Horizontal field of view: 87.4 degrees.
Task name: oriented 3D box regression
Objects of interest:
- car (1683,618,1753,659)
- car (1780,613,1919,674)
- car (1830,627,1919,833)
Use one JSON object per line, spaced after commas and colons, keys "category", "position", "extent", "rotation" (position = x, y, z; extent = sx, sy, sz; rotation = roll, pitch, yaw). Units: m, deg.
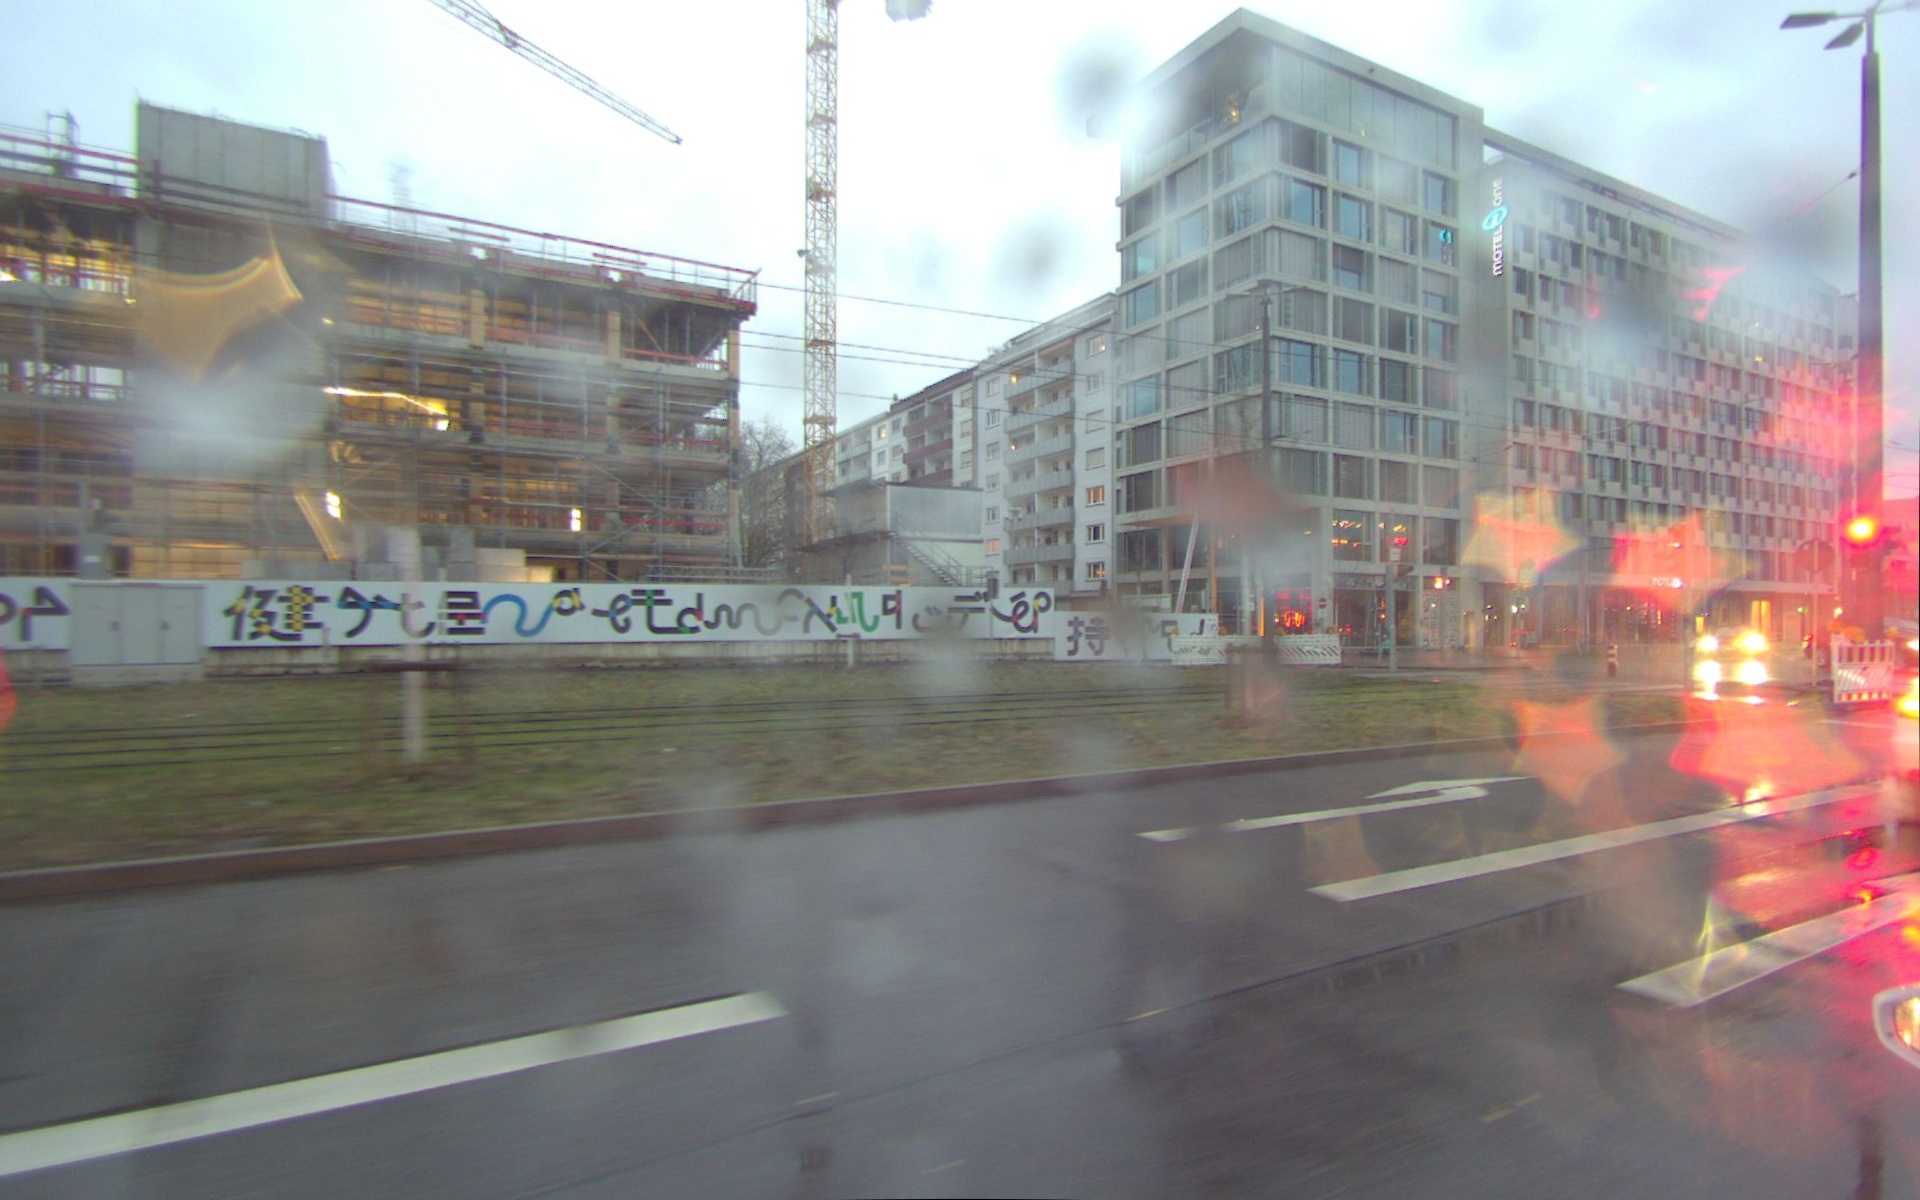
{"category": "car", "position": [31.349, 1.570, 41.649], "extent": [1.731, 1.550, 4.319], "rotation": [2, 0, 30]}
{"category": "car", "position": [28.081, 1.294, 30.798], "extent": [1.865, 1.743, 4.709], "rotation": [2, -1, -3]}
{"category": "car", "position": [8.981, 0.963, 7.990], "extent": [4.320, 1.475, 1.983], "rotation": [1, -1, -32]}
